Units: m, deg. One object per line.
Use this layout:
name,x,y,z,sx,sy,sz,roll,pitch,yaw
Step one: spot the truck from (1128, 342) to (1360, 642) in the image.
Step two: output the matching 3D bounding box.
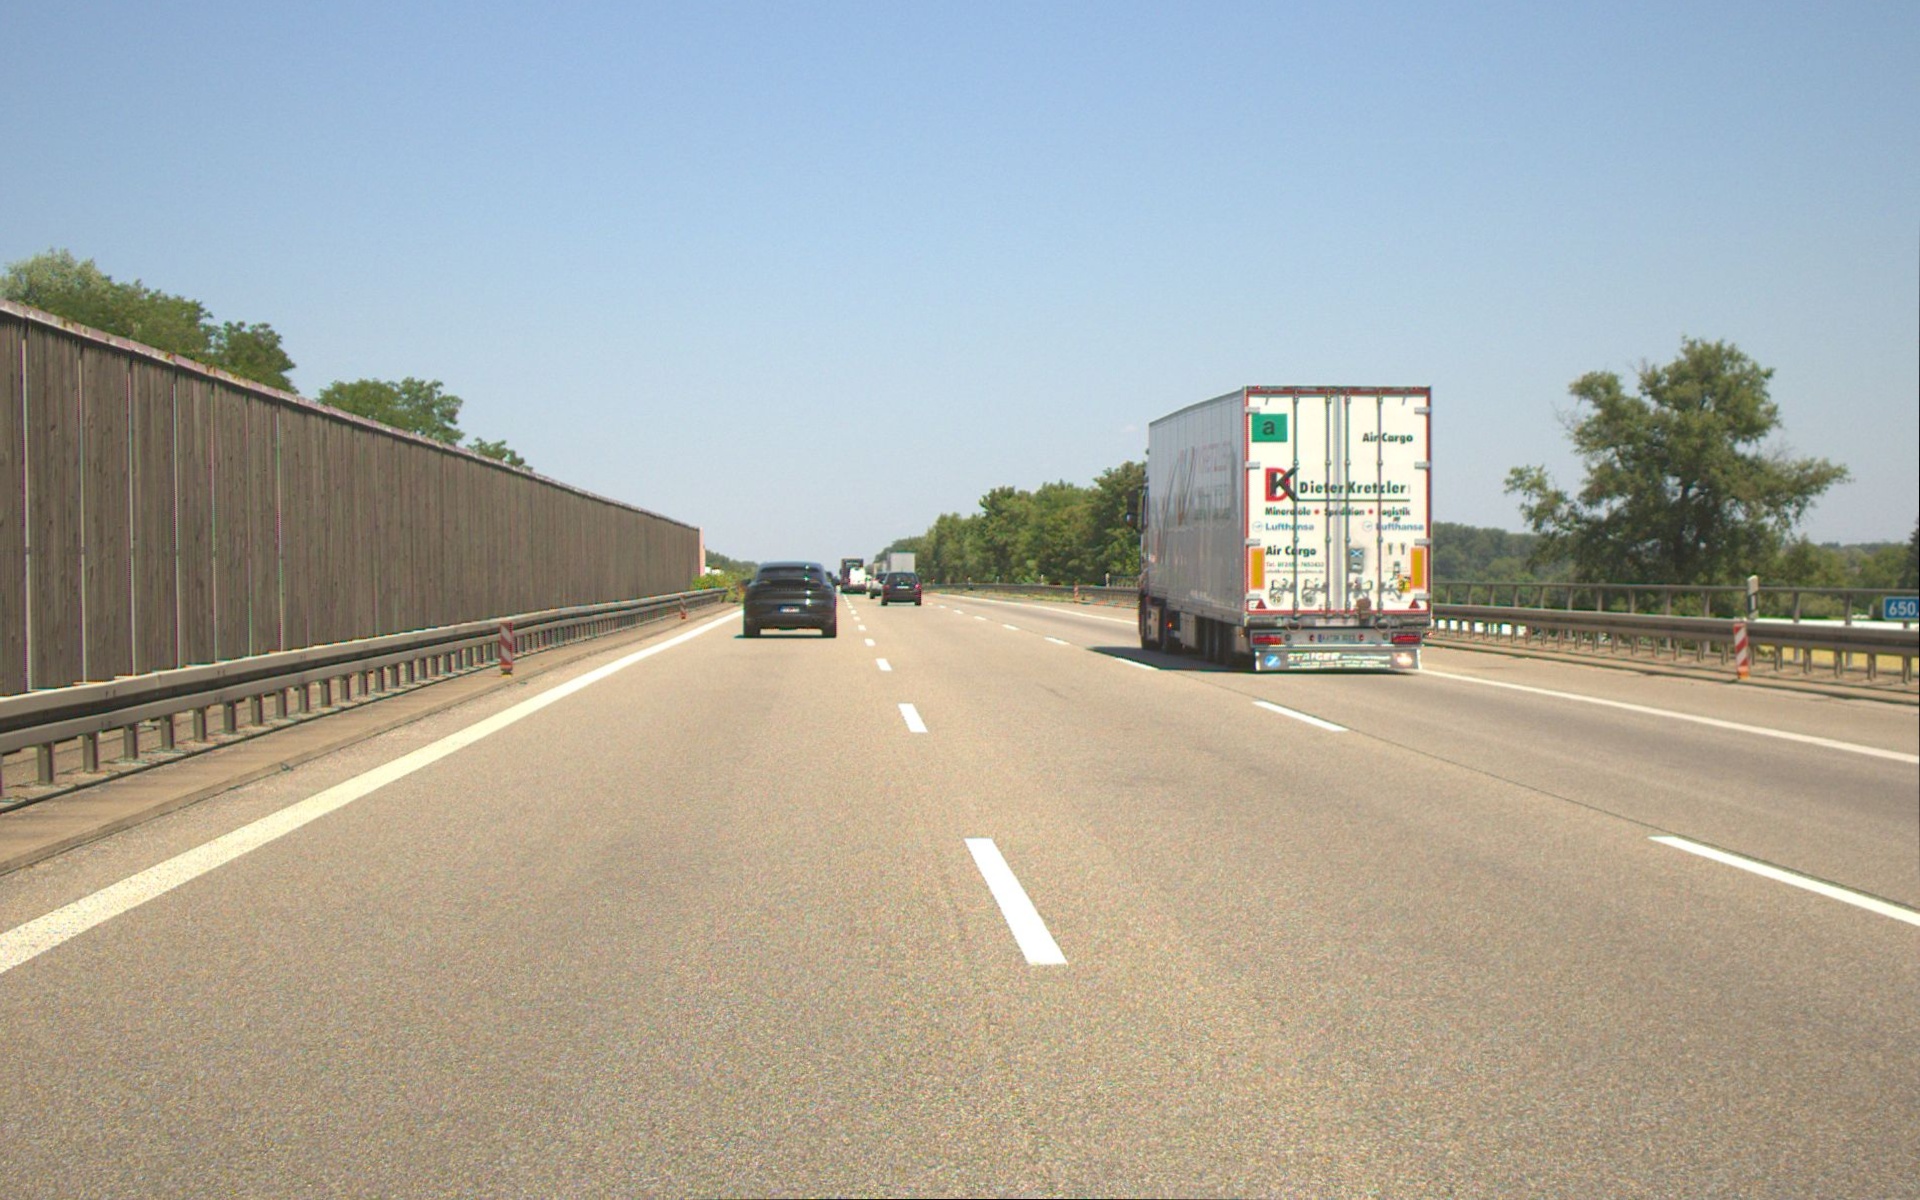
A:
truck,4.816,-1.819,59.706,3.234,4.872,6.972,0,1,-2

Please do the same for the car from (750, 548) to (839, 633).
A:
car,-3.601,-0.232,74.448,1.880,1.786,4.001,0,1,-3

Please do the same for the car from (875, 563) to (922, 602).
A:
car,-2.637,-0.732,146.669,1.903,1.578,4.304,-1,0,-2

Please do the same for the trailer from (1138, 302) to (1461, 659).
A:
trailer,4.976,-1.731,53.717,3.269,4.821,14.030,0,1,-2

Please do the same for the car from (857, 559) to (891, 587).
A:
car,-4.919,-1.540,196.603,1.903,1.578,4.304,-1,0,-2
